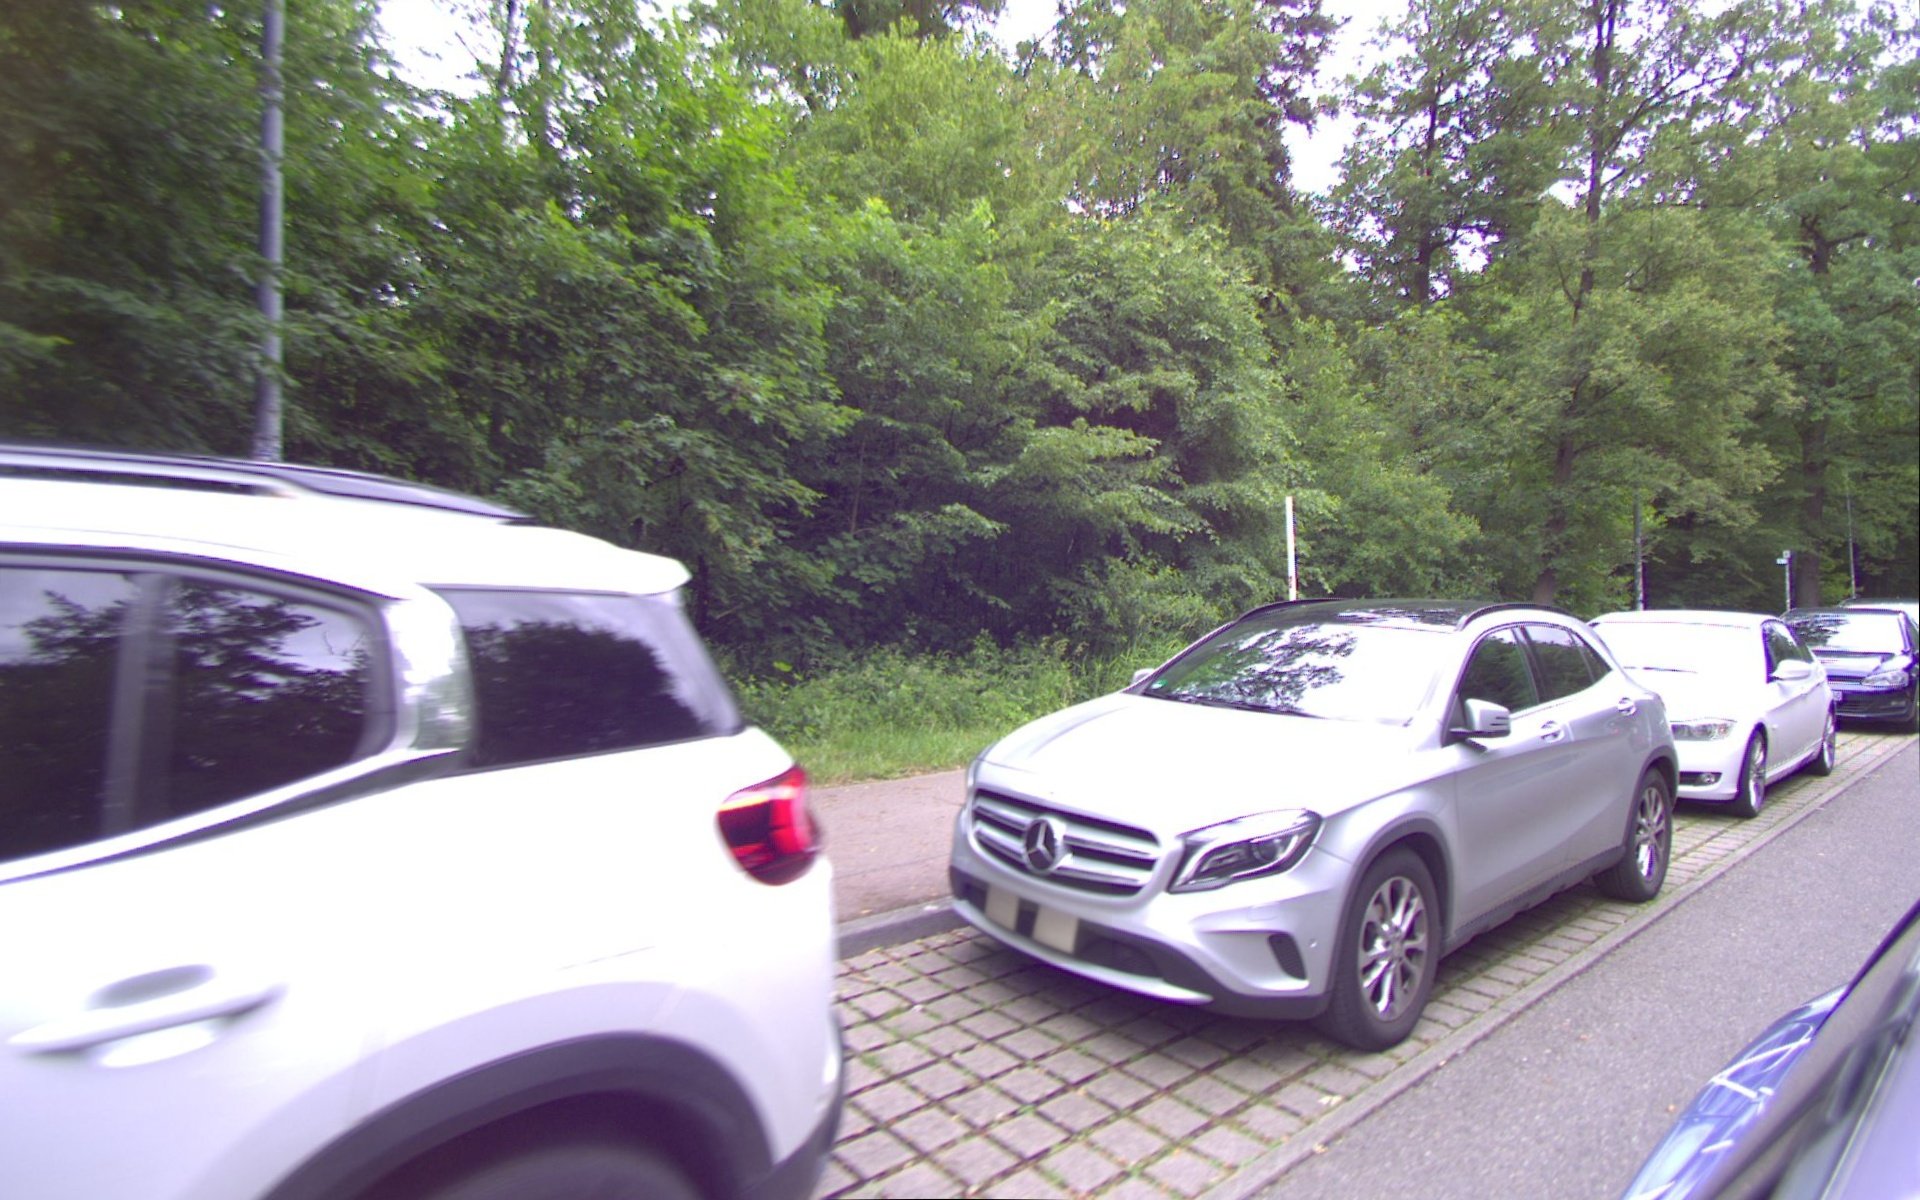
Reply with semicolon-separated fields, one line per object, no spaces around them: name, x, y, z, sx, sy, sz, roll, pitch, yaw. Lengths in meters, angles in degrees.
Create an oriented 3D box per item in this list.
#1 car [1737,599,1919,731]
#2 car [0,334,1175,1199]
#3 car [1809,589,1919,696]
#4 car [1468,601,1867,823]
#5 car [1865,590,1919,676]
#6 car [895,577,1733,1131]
car;11.826;0.718;13.310;4.664;1.453;1.738;0;0;-42
car;-1.989;0.570;1.228;4.982;1.664;1.739;0;0;-40
car;15.553;0.627;16.668;4.348;1.580;1.841;0;0;-42
car;6.151;0.723;8.591;4.349;1.425;1.739;0;0;-40
car;19.646;0.625;20.197;4.404;1.607;1.904;0;0;-42
car;2.076;0.689;4.933;4.685;1.498;1.739;0;0;-40
